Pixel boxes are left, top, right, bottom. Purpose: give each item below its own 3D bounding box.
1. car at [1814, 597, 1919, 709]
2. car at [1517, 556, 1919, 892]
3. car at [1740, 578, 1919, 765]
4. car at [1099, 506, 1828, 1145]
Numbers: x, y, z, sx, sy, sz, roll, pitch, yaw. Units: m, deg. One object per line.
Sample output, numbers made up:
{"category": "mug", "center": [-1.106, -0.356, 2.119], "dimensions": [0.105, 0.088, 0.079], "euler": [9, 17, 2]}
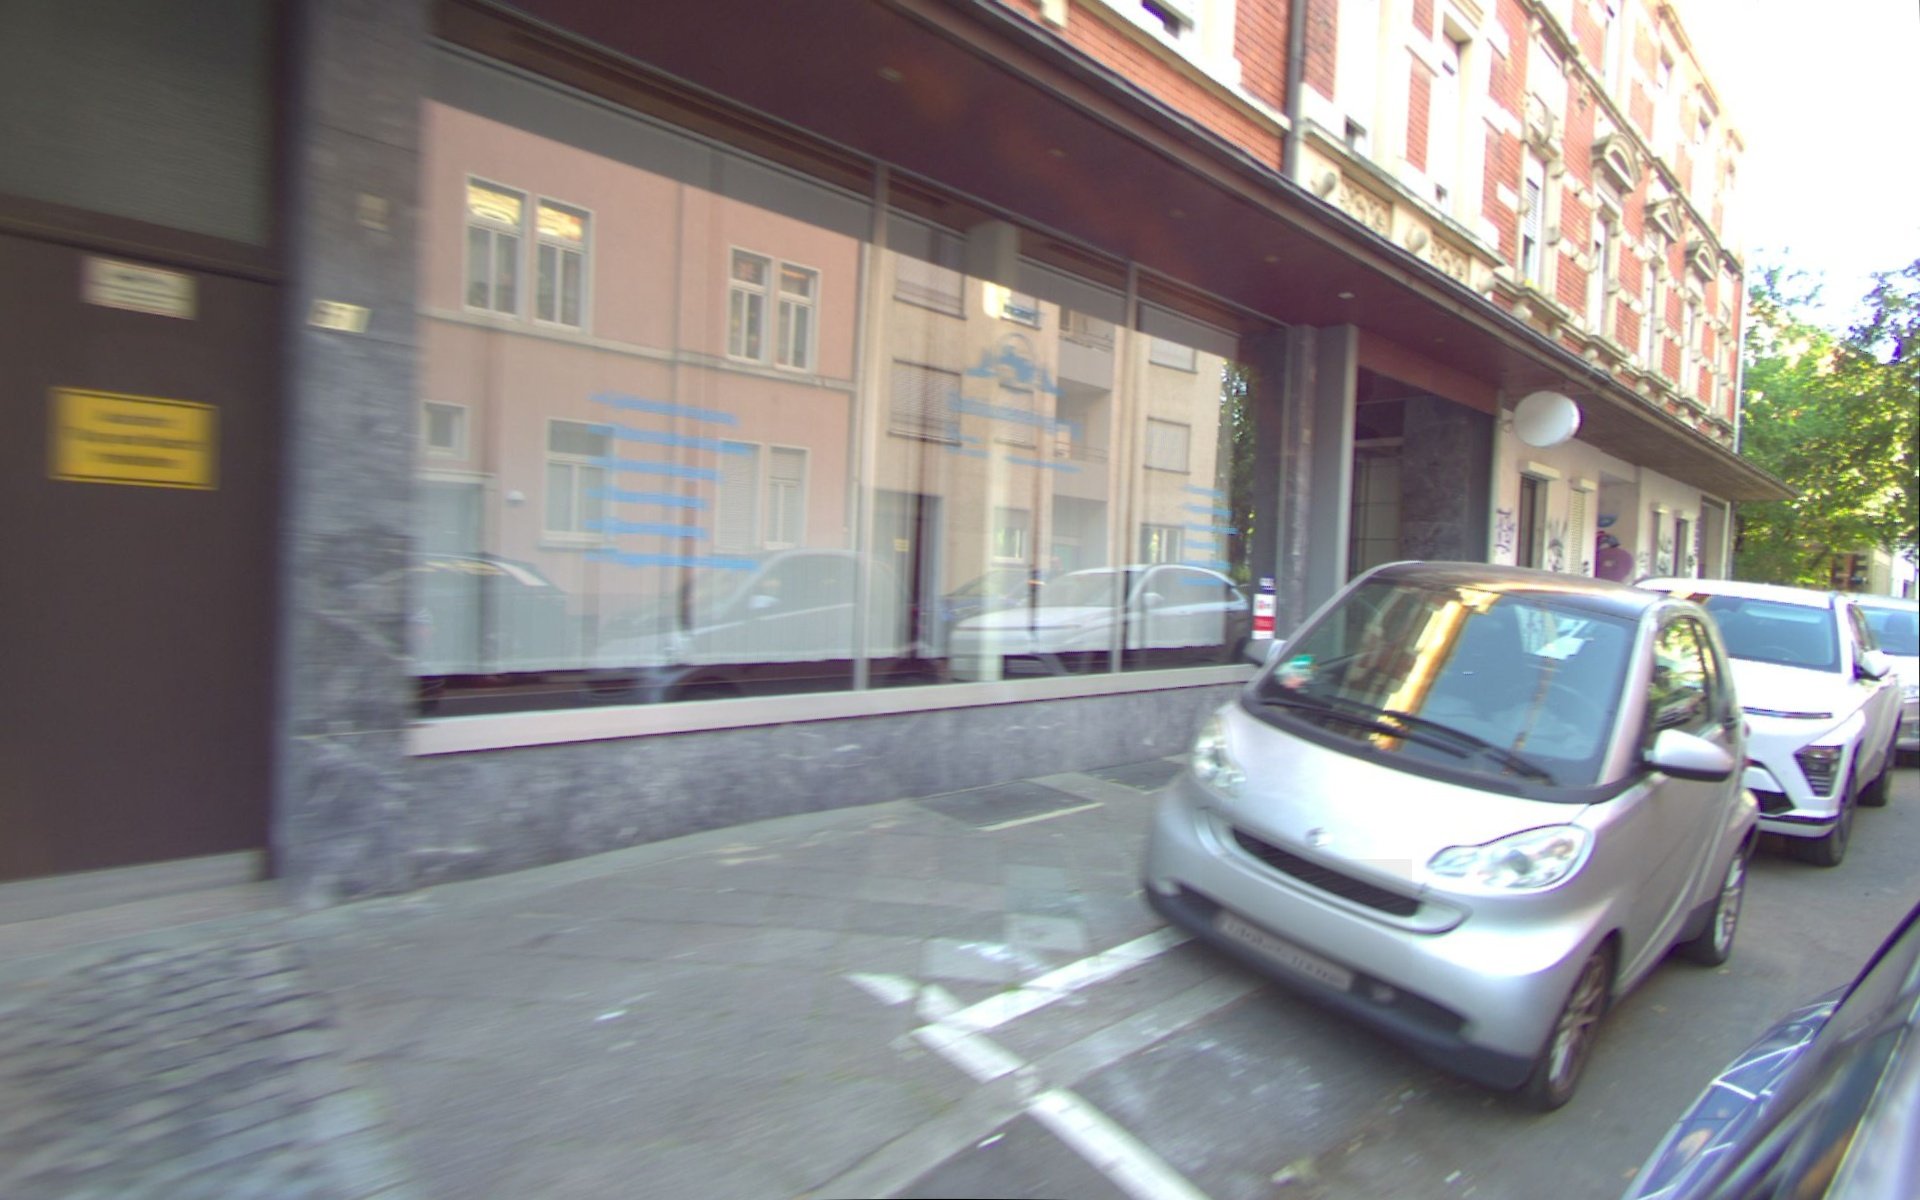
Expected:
{"category": "car", "center": [14.132, 0.722, 15.102], "dimensions": [4.096, 1.468, 1.644], "euler": [0, 1, -43]}
{"category": "car", "center": [5.438, 0.615, 7.032], "dimensions": [3.992, 1.683, 1.601], "euler": [0, 0, -43]}
{"category": "car", "center": [9.539, 0.636, 10.608], "dimensions": [3.711, 1.656, 1.601], "euler": [0, 0, -43]}
{"category": "car", "center": [2.343, 0.555, 4.319], "dimensions": [3.405, 1.551, 1.526], "euler": [0, 8, -43]}
